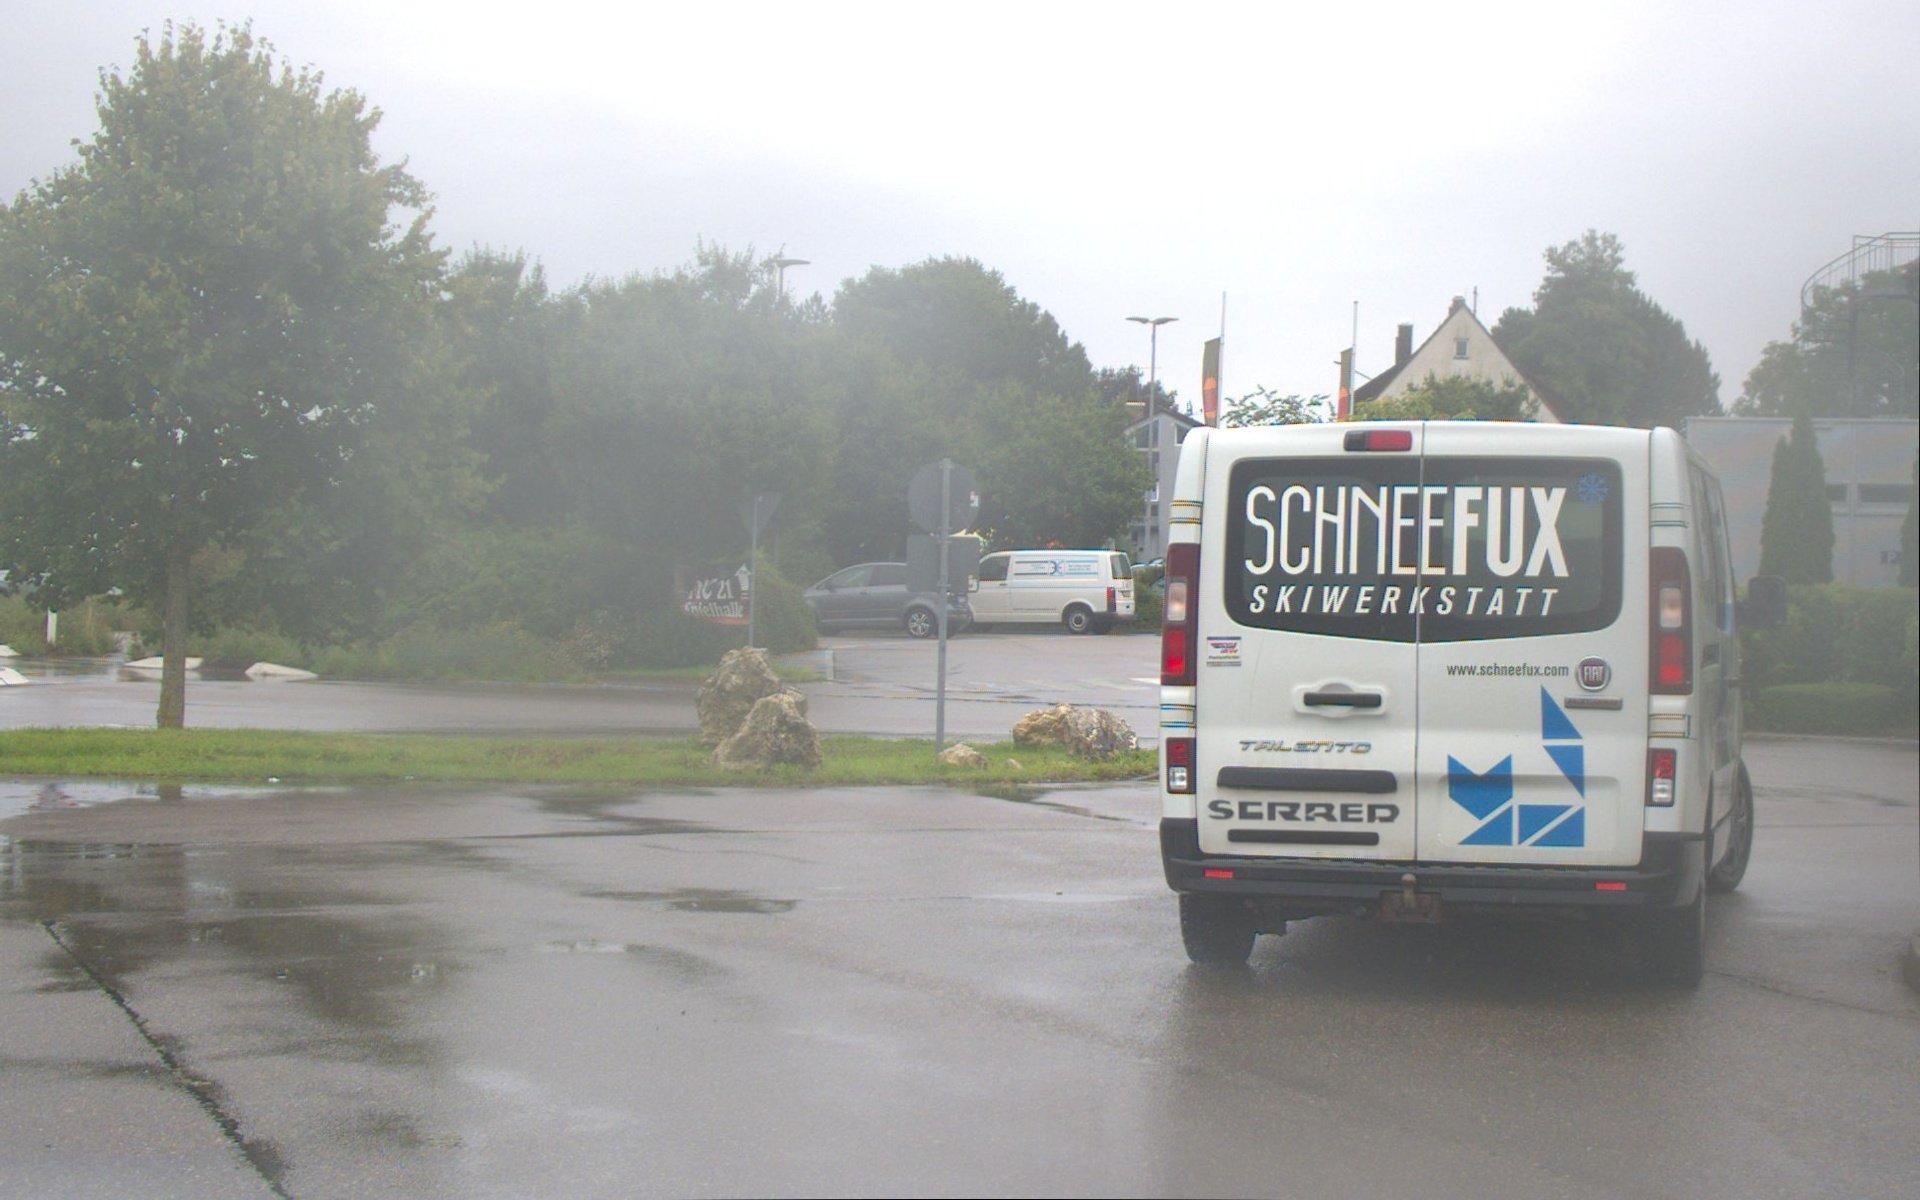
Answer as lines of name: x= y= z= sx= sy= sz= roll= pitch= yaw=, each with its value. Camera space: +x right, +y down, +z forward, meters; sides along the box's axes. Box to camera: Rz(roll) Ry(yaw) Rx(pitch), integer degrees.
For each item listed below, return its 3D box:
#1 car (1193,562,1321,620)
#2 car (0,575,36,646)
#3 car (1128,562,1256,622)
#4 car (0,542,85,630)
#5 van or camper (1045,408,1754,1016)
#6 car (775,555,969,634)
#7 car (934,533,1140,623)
car: x=7.692 y=-0.243 z=89.324 sx=1.580 sy=1.453 sz=3.681 roll=0 pitch=1 yaw=-28
car: x=-25.432 y=0.248 z=85.540 sx=4.354 sy=1.752 sz=1.748 roll=0 pitch=0 yaw=-41
car: x=5.852 y=-0.210 z=87.103 sx=1.550 sy=1.453 sz=3.681 roll=0 pitch=1 yaw=-28
car: x=-21.044 y=-0.329 z=74.393 sx=1.995 sy=1.866 sz=4.641 roll=1 pitch=1 yaw=17
van or camper: x=1.988 y=0.340 z=13.747 sx=2.189 sy=1.938 sz=5.194 roll=1 pitch=0 yaw=14
car: x=-1.828 y=-0.128 z=71.219 sx=3.735 sy=1.545 sz=1.449 roll=1 pitch=1 yaw=18
car: x=1.809 y=-0.527 z=80.502 sx=4.524 sy=2.026 sz=1.643 roll=1 pitch=1 yaw=19
